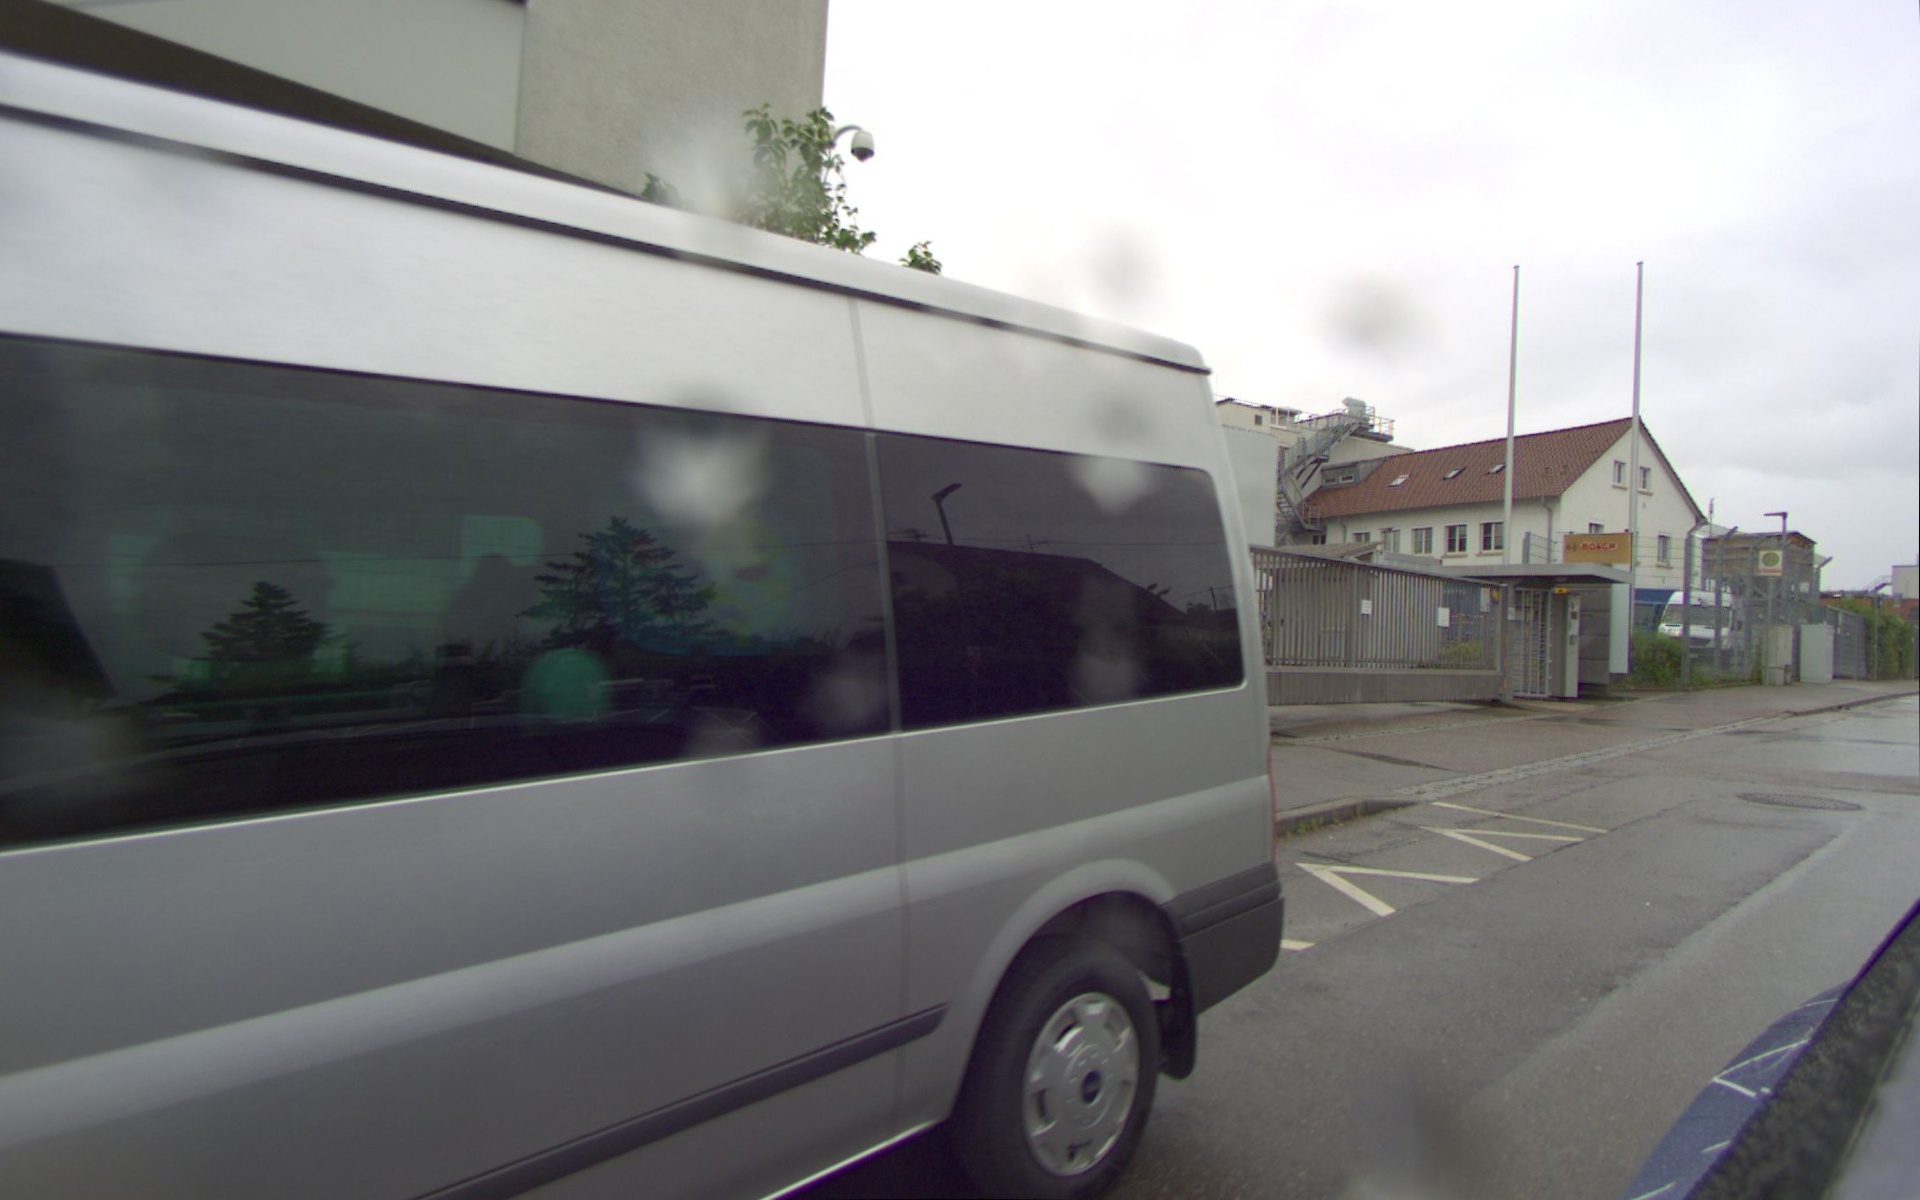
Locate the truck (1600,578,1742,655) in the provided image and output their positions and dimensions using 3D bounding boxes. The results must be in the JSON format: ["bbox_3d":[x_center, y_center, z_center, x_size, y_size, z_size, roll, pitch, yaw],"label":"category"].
[{"bbox_3d":[29.825,0.735,42.376,6.991,3.006,2.329,2,0,-32],"label":"truck"}]

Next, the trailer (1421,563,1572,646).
[{"bbox_3d":[19.914,0.218,37.611,4.534,2.929,2.640,0,-3,-24],"label":"trailer"}]

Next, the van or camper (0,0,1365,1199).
[{"bbox_3d":[-1.452,0.277,2.144,5.344,2.271,1.998,1,1,-40],"label":"van or camper"}]

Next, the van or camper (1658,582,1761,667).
[{"bbox_3d":[24.781,0.798,33.354,2.084,2.527,5.714,2,0,43],"label":"van or camper"}]
